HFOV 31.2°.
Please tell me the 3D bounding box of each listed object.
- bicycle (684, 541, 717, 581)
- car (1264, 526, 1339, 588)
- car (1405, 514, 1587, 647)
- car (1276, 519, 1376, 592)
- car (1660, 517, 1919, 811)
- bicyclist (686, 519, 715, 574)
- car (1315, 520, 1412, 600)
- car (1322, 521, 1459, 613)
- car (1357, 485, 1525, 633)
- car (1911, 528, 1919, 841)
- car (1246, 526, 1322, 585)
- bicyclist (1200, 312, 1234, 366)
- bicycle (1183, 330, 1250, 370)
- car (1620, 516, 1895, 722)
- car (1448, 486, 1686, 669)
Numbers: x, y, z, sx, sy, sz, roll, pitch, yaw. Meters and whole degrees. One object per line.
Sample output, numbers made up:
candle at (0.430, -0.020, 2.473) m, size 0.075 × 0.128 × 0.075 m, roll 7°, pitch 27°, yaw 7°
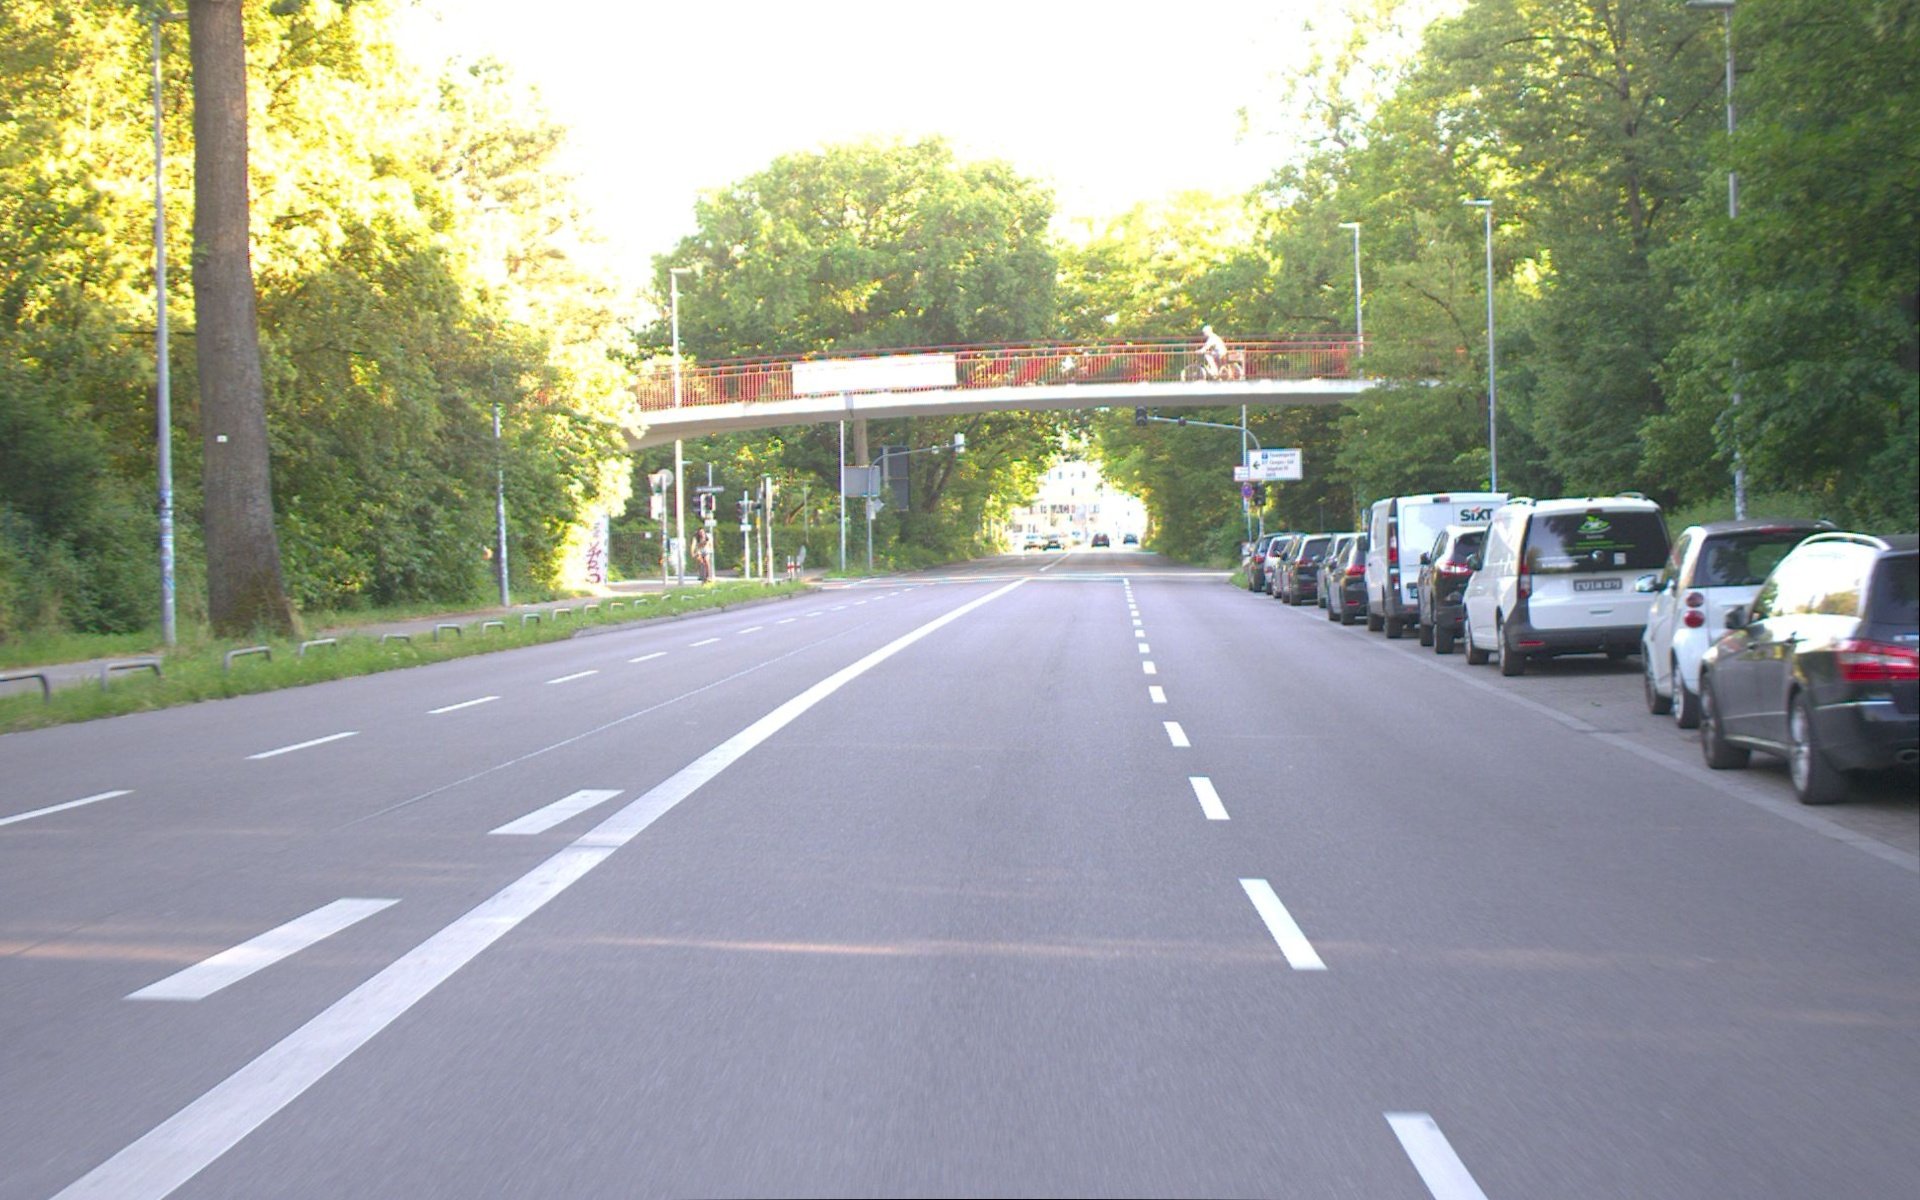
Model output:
bicycle at (-7.493, -1.124, 99.193) m, size 0.712 × 1.143 × 1.993 m, roll 1°, pitch 0°, yaw 2°
car at (8.471, -1.071, 85.274) m, size 1.774 × 1.449 × 4.013 m, roll -1°, pitch 1°, yaw 5°
car at (6.691, -0.266, 43.289) m, size 1.759 × 1.542 × 4.428 m, roll -1°, pitch 1°, yaw 3°
car at (7.659, -0.934, 72.374) m, size 1.637 × 1.449 × 4.898 m, roll -1°, pitch 1°, yaw 1°
car at (5.529, 0.282, 20.466) m, size 1.759 × 1.530 × 4.989 m, roll -1°, pitch 1°, yaw 1°
bicyclist at (-7.483, -1.538, 99.190) m, size 0.712 × 1.553 × 1.143 m, roll 1°, pitch 0°, yaw 2°
car at (7.718, -0.774, 66.001) m, size 1.586 × 1.449 × 3.943 m, roll -1°, pitch 1°, yaw 3°
car at (6.991, -0.547, 56.204) m, size 1.869 × 1.401 × 4.369 m, roll -1°, pitch 1°, yaw 3°
car at (6.878, -0.603, 49.609) m, size 1.869 × 1.974 × 5.474 m, roll -1°, pitch 1°, yaw 3°
car at (5.488, 0.424, 14.697) m, size 1.677 × 1.530 × 4.353 m, roll -1°, pitch 1°, yaw 1°
car at (8.430, -1.173, 89.691) m, size 1.774 × 1.449 × 4.387 m, roll -1°, pitch 1°, yaw 3°
bicyclist at (7.788, -7.908, 104.187) m, size 0.970 × 1.580 × 0.714 m, roll 1°, pitch 0°, yaw 1°
bicycle at (7.772, -7.584, 104.184) m, size 1.987 × 1.143 × 0.714 m, roll 1°, pitch 0°, yaw 1°
car at (6.224, 0.116, 27.125) m, size 1.586 × 1.490 × 3.180 m, roll -1°, pitch 1°, yaw 4°
car at (6.448, -0.255, 36.966) m, size 1.759 × 1.798 × 4.737 m, roll -1°, pitch 1°, yaw 1°
